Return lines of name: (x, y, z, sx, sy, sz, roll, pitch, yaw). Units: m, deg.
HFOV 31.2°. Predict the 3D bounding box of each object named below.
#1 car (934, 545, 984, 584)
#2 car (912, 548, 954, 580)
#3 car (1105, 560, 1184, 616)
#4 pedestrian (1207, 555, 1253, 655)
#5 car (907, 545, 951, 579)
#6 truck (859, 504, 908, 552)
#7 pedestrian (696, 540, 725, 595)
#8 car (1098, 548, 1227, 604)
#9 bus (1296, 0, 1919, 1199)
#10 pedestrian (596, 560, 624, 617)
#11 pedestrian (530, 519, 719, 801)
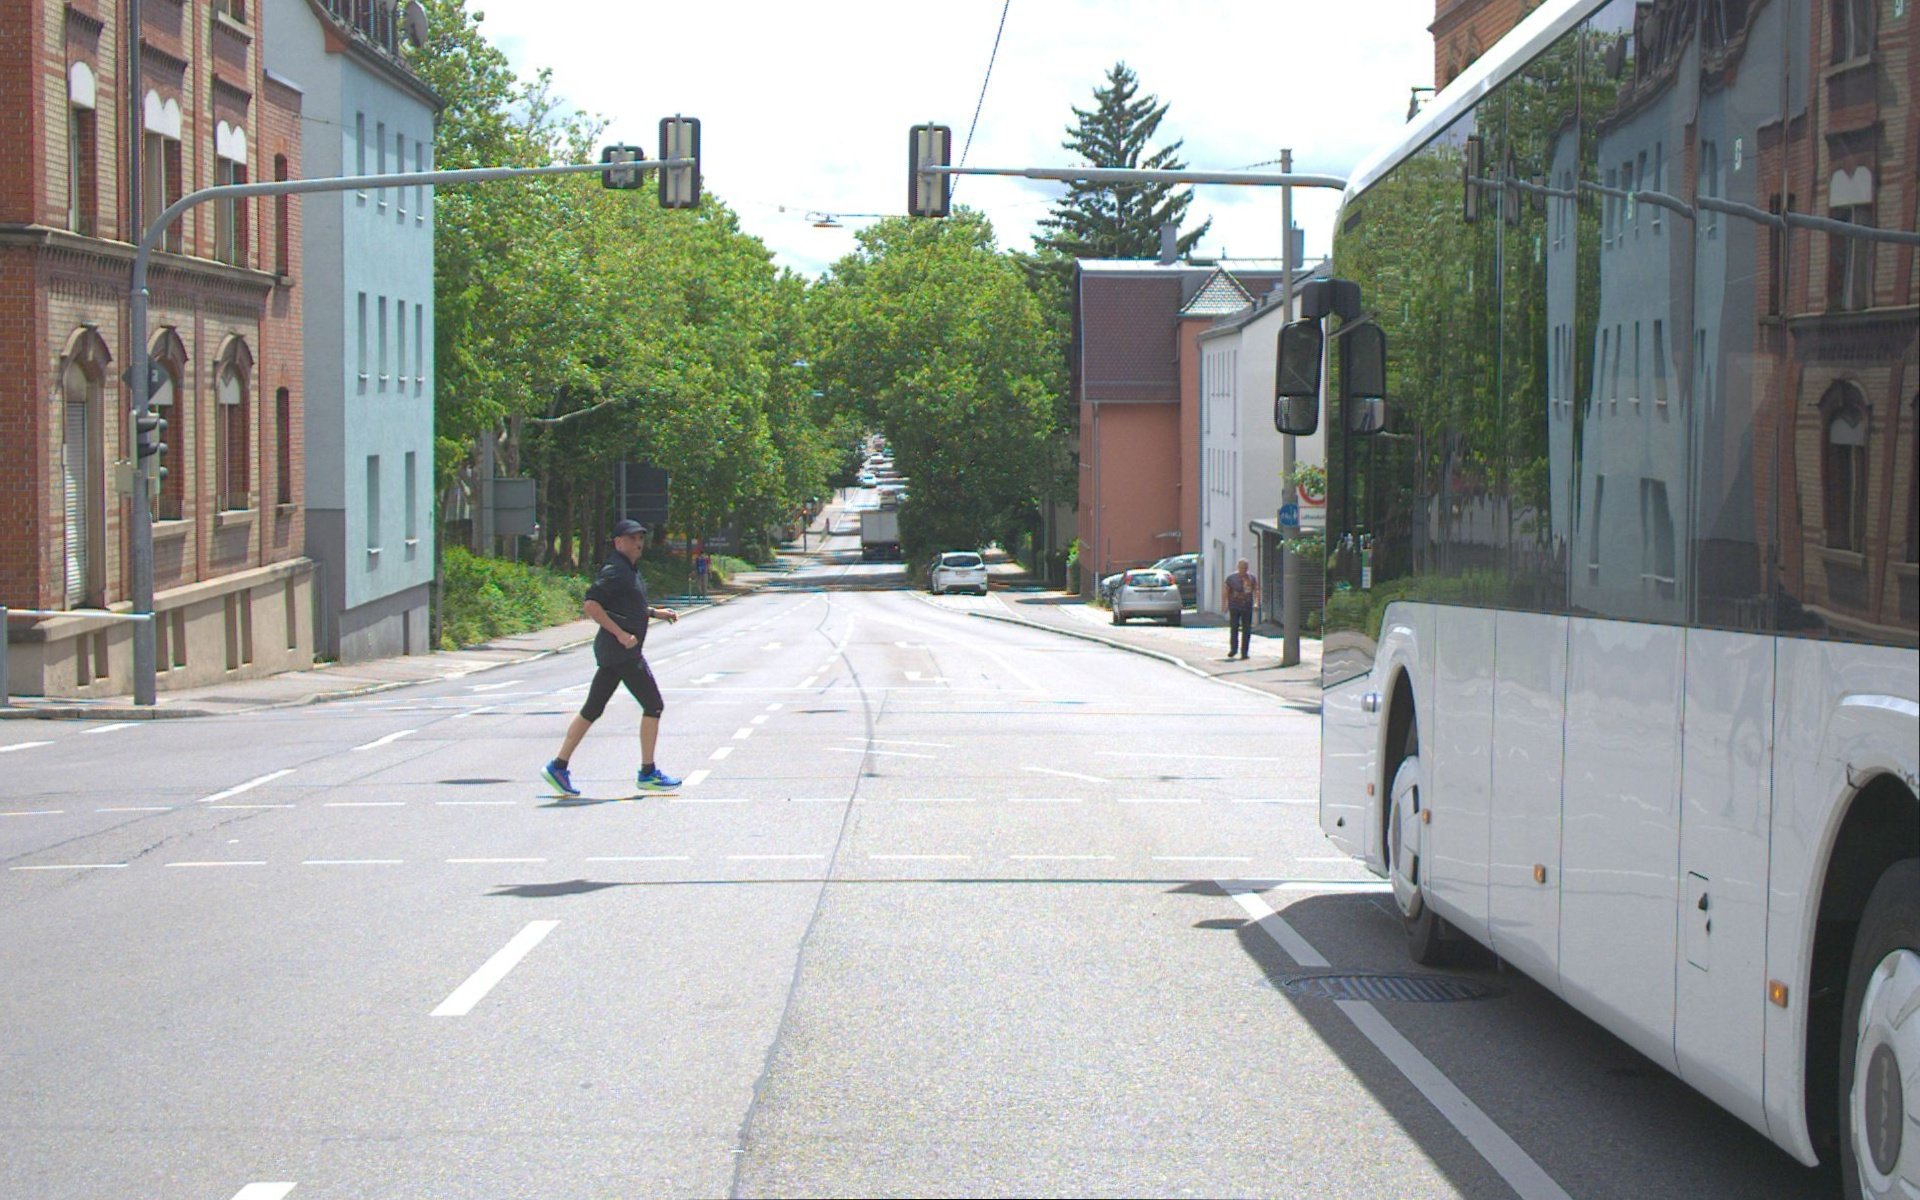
car: (-0.057, -1.334, 129.383, 1.794, 1.405, 4.000, 1, 1, -1)
car: (-1.197, -1.623, 153.924, 1.794, 1.405, 4.419, 1, 1, 0)
car: (4.978, -0.351, 93.063, 1.794, 1.405, 4.001, -1, 1, -2)
pedestrian: (4.789, 0.085, 61.026, 0.738, 1.744, 0.619, -1, 1, -1)
car: (-1.296, -1.616, 145.817, 1.794, 1.405, 4.419, 1, 1, 0)
truck: (-5.003, -4.720, 224.890, 2.926, 3.070, 7.886, -1, 1, -3)
pedestrian: (-9.190, -1.199, 126.772, 0.995, 2.007, 1.189, -1, 1, -1)
car: (6.652, -0.806, 113.161, 3.986, 1.751, 2.000, -1, 1, -5)
bus: (2.920, -0.196, 9.290, 2.672, 3.145, 12.462, -1, 1, 0)
pedestrian: (-9.686, -0.315, 95.057, 0.729, 1.560, 0.561, 0, 1, -1)
pedestrian: (-2.095, 0.360, 21.534, 1.140, 1.728, 0.759, 0, 1, -5)
